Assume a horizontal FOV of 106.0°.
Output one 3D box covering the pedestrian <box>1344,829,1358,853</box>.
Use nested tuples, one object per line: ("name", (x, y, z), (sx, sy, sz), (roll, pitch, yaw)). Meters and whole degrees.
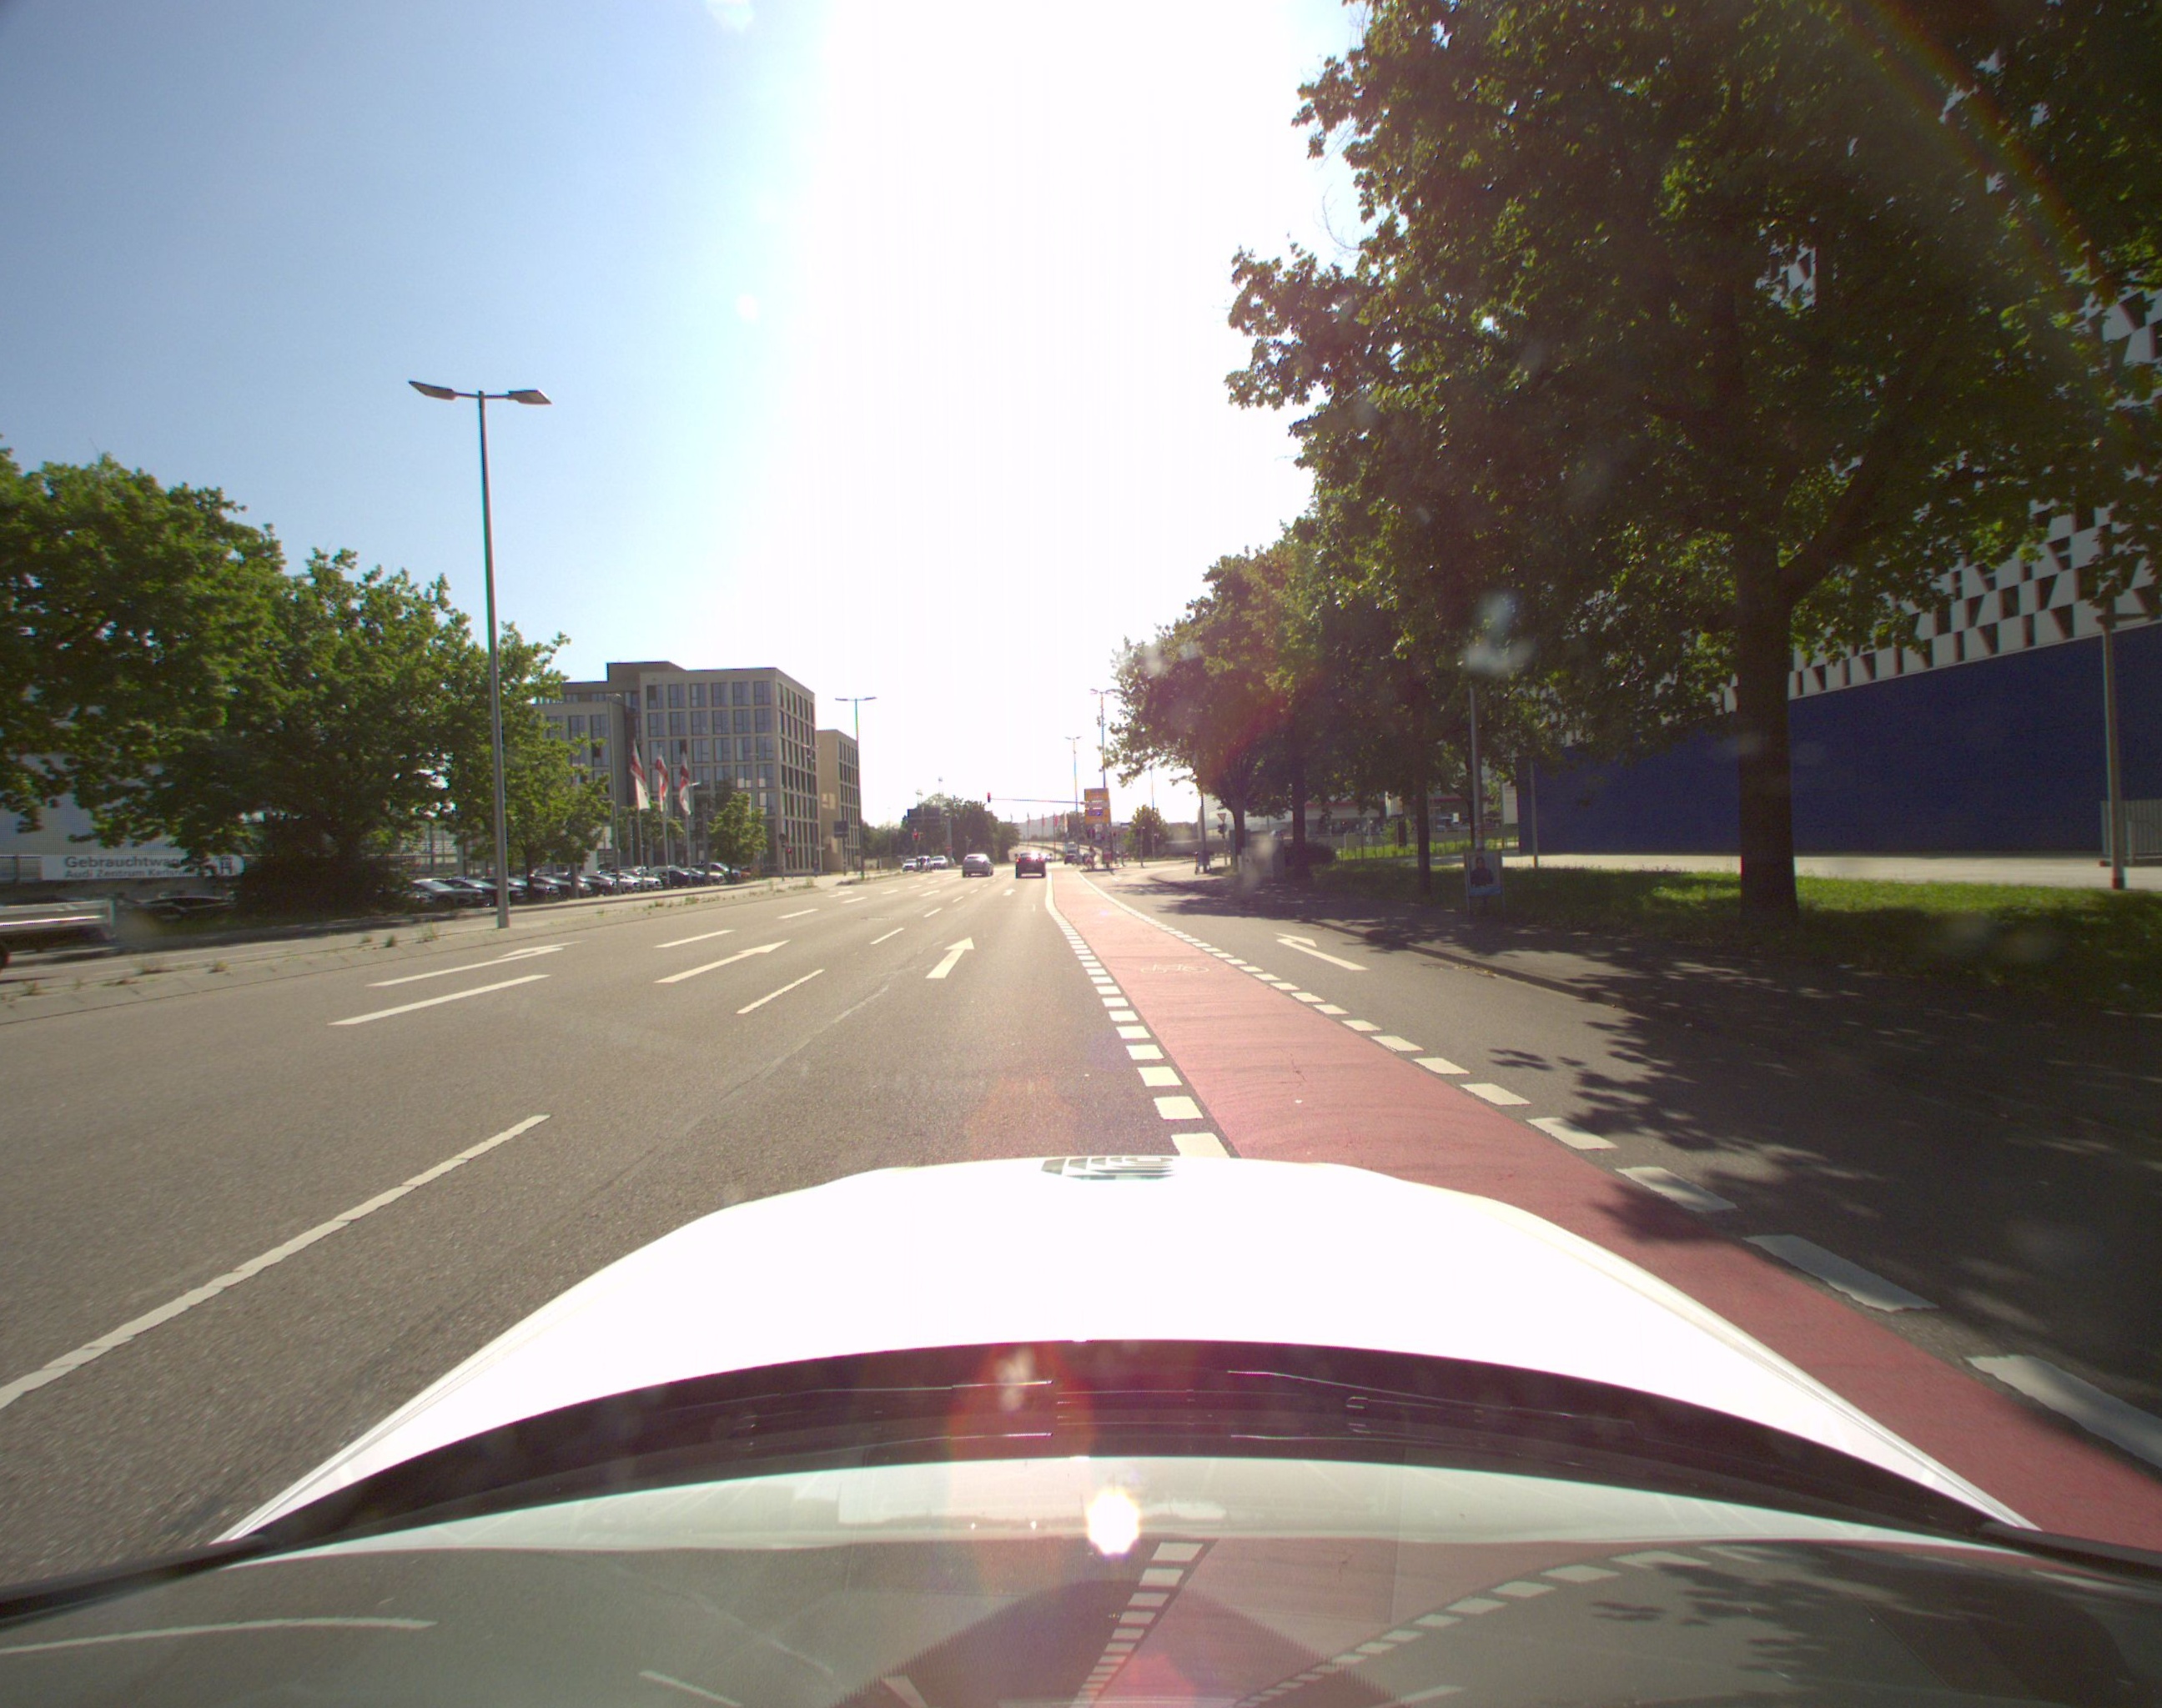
("pedestrian", (20.456, -0.955, 61.790), (0.627, 1.770, 0.802), (-3, 0, -12))

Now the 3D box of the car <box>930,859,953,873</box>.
("car", (-16.533, 1.429, 96.629), (1.808, 1.464, 4.003), (-3, 0, 3))

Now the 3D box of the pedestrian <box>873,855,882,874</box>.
("pedestrian", (-22.029, 1.101, 88.237), (0.760, 2.013, 0.926), (-1, 1, -27))

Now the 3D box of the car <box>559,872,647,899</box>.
("car", (-28.503, 1.840, 48.652), (3.978, 1.343, 1.998), (-3, 0, -3))

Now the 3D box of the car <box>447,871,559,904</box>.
("car", (-28.446, 1.652, 40.203), (3.978, 1.343, 1.998), (-3, 0, -3))

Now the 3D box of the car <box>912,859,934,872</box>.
("car", (-19.910, 1.480, 102.740), (1.808, 1.464, 4.003), (-3, 0, 3))

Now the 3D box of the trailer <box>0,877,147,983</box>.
("trailer", (-16.211, 1.144, 10.446), (1.989, 1.453, 5.764), (-3, 0, -4))

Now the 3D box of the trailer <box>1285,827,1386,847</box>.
("trailer", (31.337, -2.118, 100.508), (11.821, 2.469, 2.002), (0, 1, 3))

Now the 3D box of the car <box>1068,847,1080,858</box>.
("car", (-1.393, -0.309, 159.759), (1.985, 2.013, 4.004), (0, 1, 3))

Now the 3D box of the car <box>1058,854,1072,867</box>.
("car", (-2.232, 0.948, 115.384), (1.754, 1.758, 3.597), (0, 1, -5))

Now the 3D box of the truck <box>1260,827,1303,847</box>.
("truck", (24.829, -2.102, 100.829), (4.860, 2.423, 2.002), (0, 1, 3))

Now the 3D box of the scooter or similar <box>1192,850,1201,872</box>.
("scooter or similar", (6.497, 0.395, 45.872), (0.349, 1.233, 1.315), (-3, 0, 12))

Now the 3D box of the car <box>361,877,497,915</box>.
("car", (-28.150, 1.787, 35.267), (4.141, 1.343, 1.998), (-3, 0, -3))

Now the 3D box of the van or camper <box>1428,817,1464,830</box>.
("van or camper", (59.357, -4.913, 132.499), (4.972, 2.013, 1.998), (0, 1, -3))

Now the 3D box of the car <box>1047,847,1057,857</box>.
("car", (-5.946, -0.437, 165.132), (1.988, 2.013, 3.979), (0, 1, -1))

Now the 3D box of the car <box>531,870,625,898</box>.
("car", (-28.409, 1.680, 46.136), (3.978, 1.343, 1.998), (-3, 0, -3))

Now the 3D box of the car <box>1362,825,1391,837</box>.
("car", (48.190, -3.758, 132.862), (3.978, 2.013, 1.998), (0, 1, -4))

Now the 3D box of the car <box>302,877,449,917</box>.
("car", (-28.249, 1.703, 32.722), (3.978, 1.311, 1.998), (-3, 0, -3))

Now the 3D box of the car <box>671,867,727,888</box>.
("car", (-28.969, 1.760, 61.875), (3.400, 1.343, 1.645), (-3, 0, 0))

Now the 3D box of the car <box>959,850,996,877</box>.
("car", (-7.016, 0.624, 55.460), (1.988, 1.684, 3.998), (-3, 0, -1))

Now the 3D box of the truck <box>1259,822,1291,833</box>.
("truck", (38.769, -5.277, 162.793), (5.890, 2.013, 2.000), (0, 1, 0))

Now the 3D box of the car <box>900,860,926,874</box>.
("car", (-19.662, 1.477, 95.392), (1.884, 1.464, 4.003), (-3, 0, 3))

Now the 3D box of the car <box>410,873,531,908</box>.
("car", (-28.333, 1.672, 37.896), (3.978, 1.343, 1.998), (-3, 0, -3))

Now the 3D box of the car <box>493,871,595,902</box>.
("car", (-28.426, 1.704, 43.191), (3.979, 1.343, 1.997), (-3, 0, -4))

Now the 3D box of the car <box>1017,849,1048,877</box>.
("car", (-3.049, 0.550, 51.817), (1.802, 1.640, 4.455), (-3, 0, -2))

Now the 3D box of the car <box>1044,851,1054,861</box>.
("car", (-6.163, 0.299, 156.721), (1.756, 1.794, 3.343), (-3, 0, -3))

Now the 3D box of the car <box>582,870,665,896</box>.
("car", (-28.610, 1.807, 51.038), (3.978, 1.343, 1.998), (-3, 0, -3))

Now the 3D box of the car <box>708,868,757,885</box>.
("car", (-34.315, 2.174, 80.256), (3.975, 1.464, 1.999), (-3, 0, -1))

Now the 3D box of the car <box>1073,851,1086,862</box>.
("car", (-0.207, 0.293, 106.040), (1.683, 1.359, 4.000), (0, 1, 0))

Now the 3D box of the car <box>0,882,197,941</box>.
("car", (-28.325, 1.626, 23.209), (3.976, 1.376, 1.923), (-3, 0, -2))

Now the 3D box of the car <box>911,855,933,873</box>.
("car", (-12.856, 0.822, 65.909), (1.211, 1.331, 2.799), (0, 1, 0))

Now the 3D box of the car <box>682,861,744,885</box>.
("car", (-34.724, 1.779, 76.905), (4.900, 2.050, 1.999), (-3, 0, -1))
